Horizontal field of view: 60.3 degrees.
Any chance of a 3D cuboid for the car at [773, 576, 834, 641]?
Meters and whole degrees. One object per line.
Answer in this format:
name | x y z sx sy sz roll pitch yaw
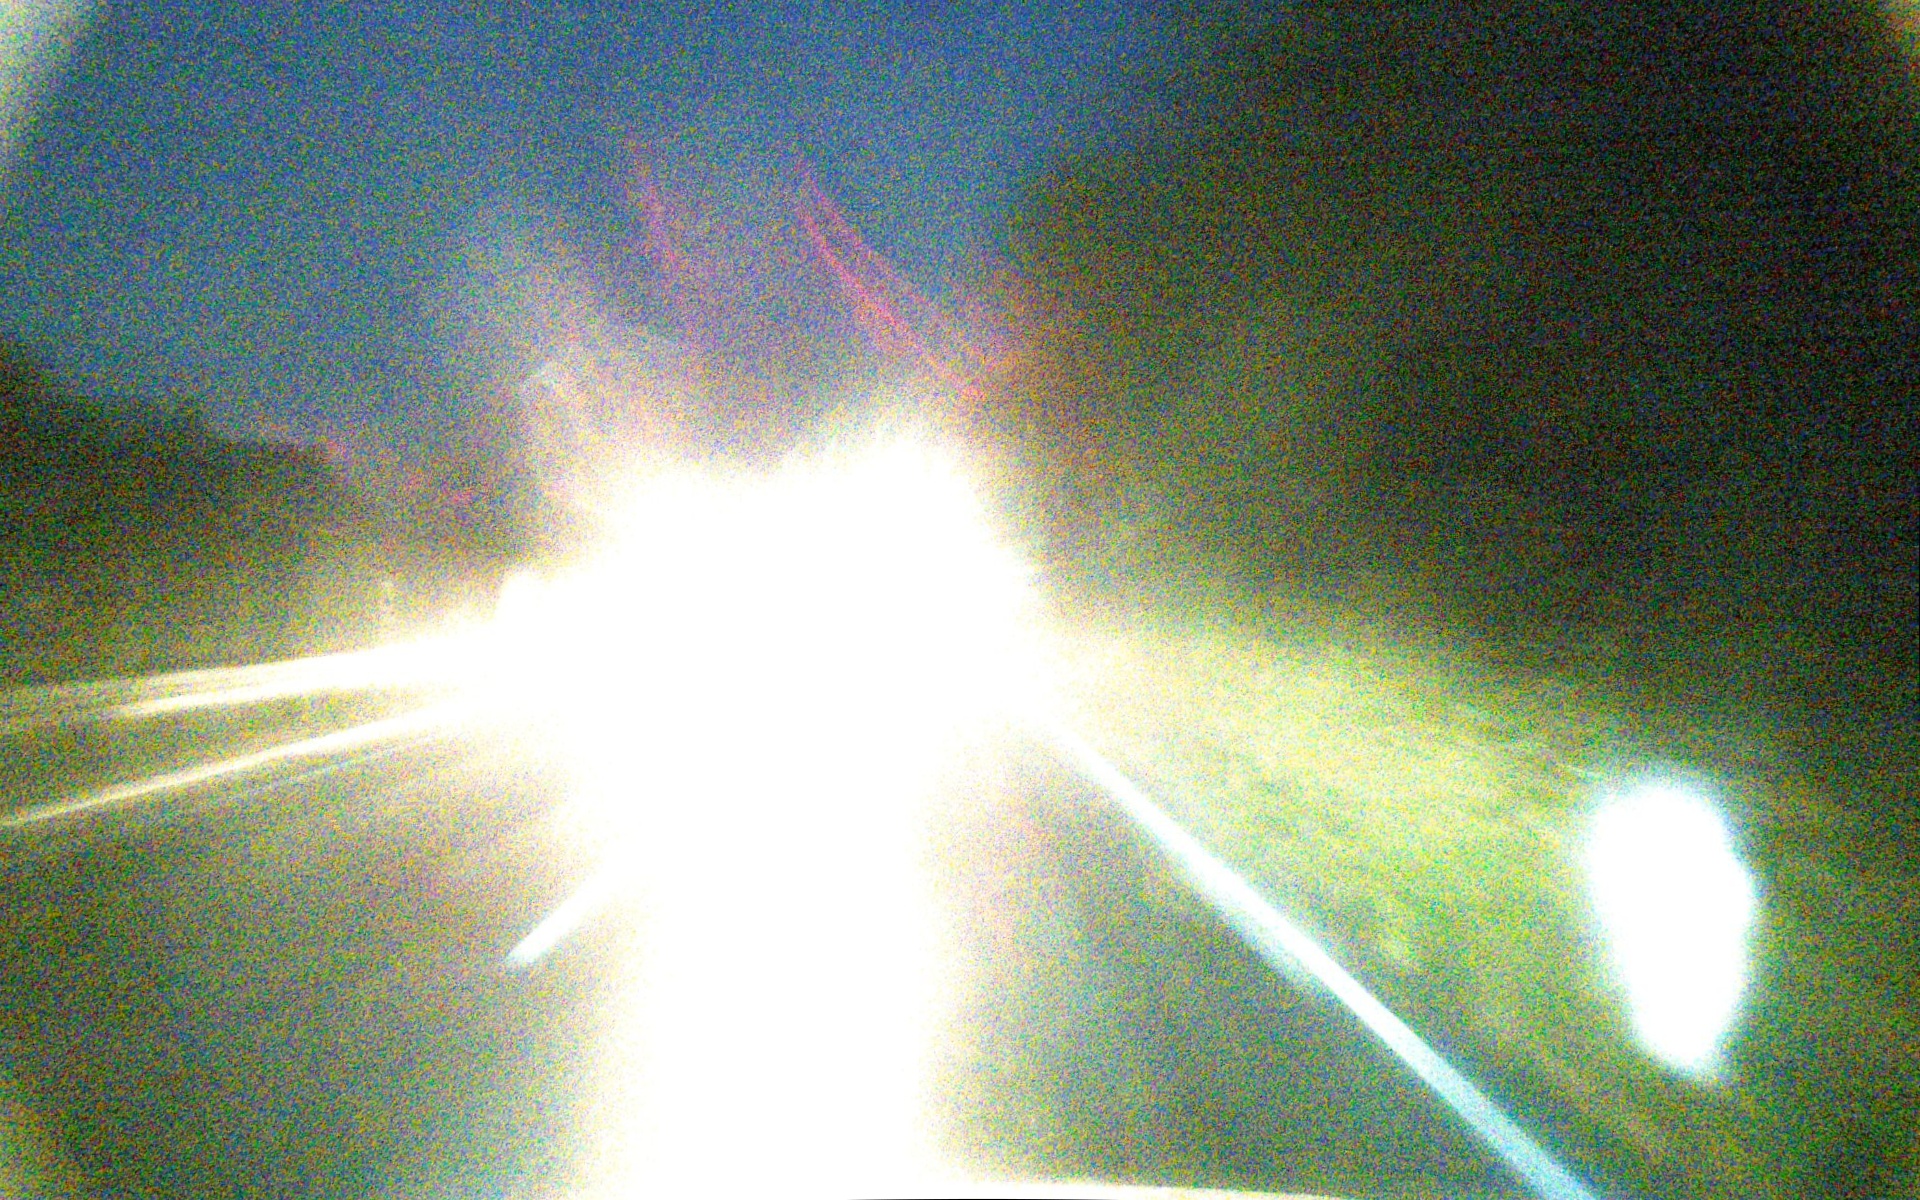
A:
car | -5.849 0.272 62.223 1.953 2.312 5.465 1 0 -2
